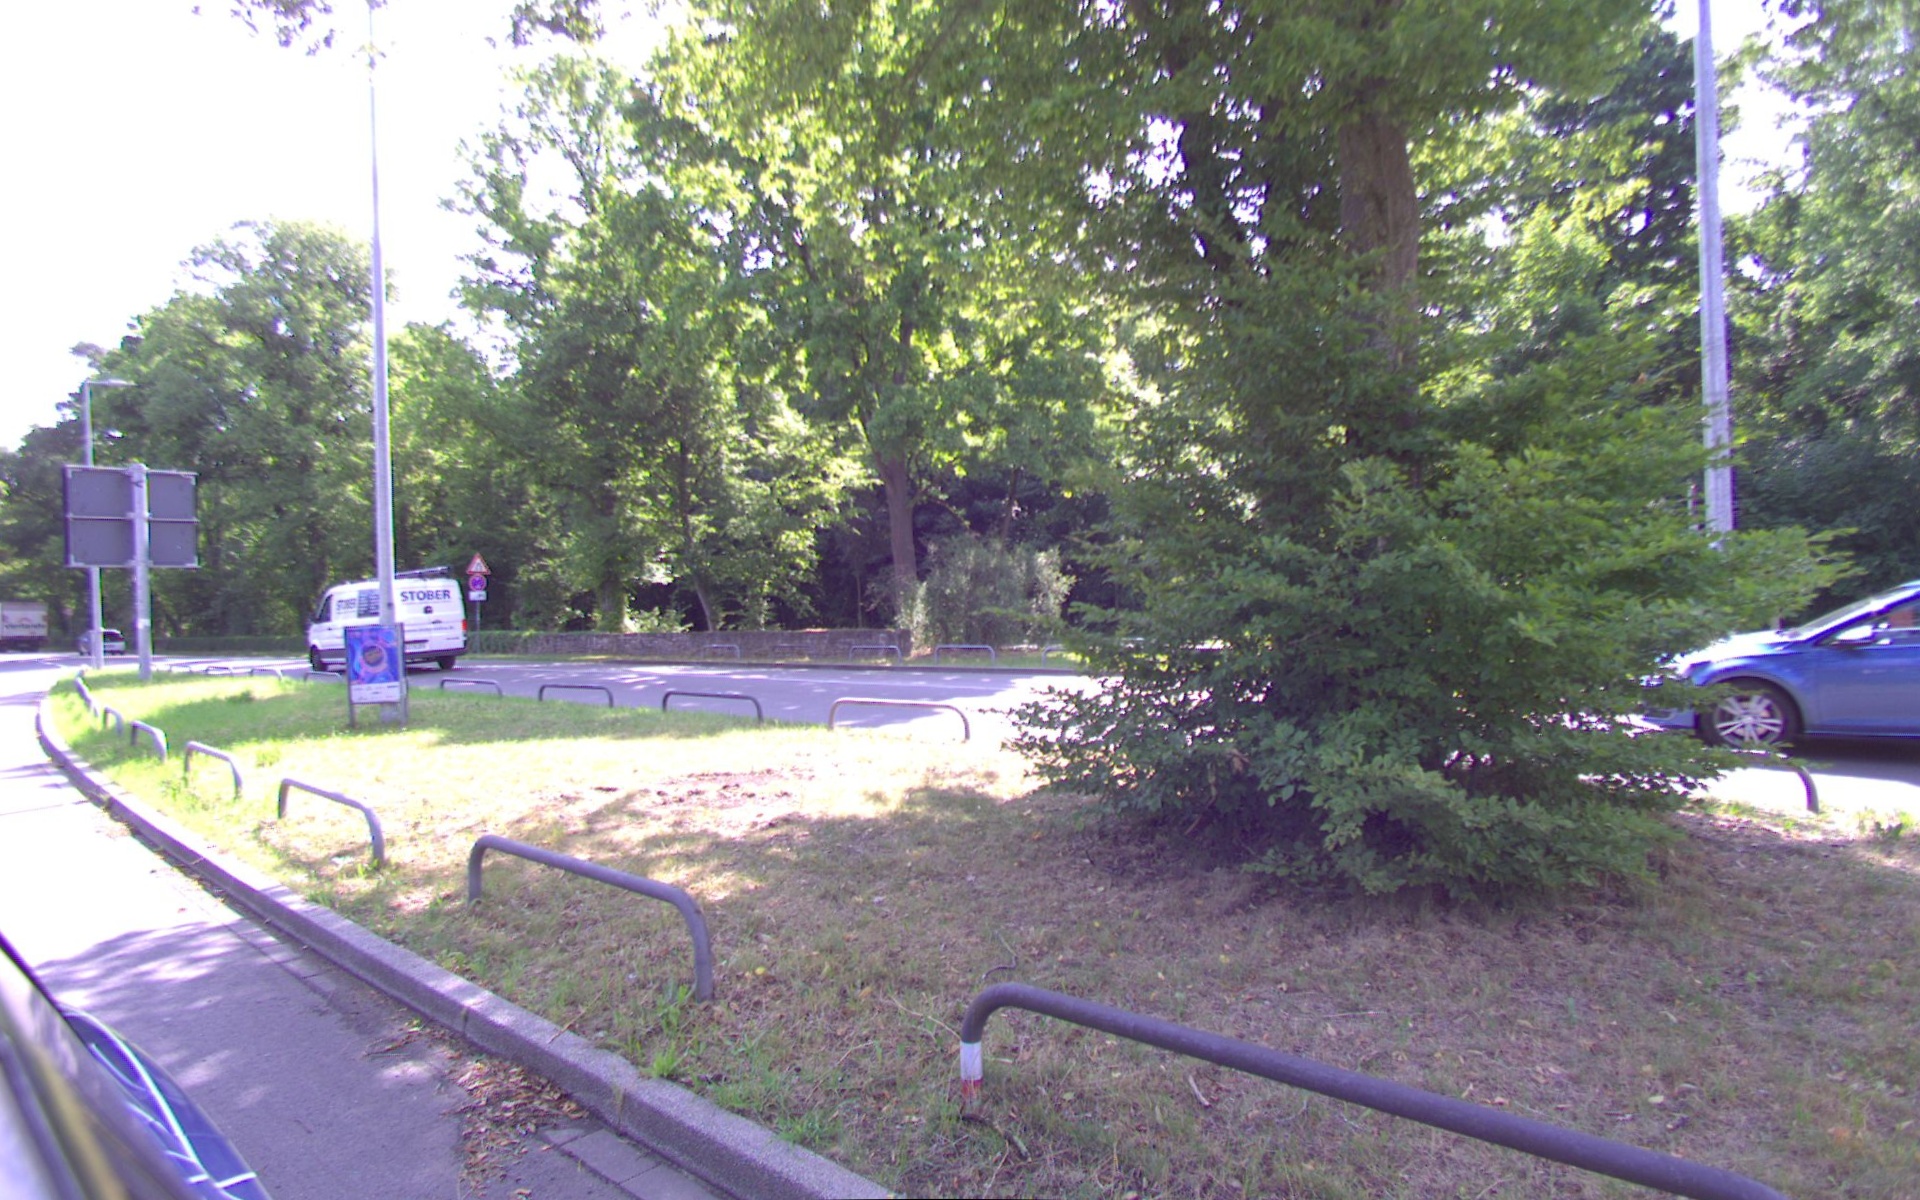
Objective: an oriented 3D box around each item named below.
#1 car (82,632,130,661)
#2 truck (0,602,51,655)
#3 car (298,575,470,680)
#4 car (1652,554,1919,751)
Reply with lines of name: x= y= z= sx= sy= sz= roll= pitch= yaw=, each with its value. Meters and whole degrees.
car: x=-48.423 y=2.628 z=57.361 sx=3.872 sy=1.481 sz=1.633 roll=-1 pitch=0 yaw=43
truck: x=-67.739 y=1.992 z=72.614 sx=7.002 sy=3.657 sz=2.877 roll=-1 pitch=0 yaw=41
car: x=-15.037 y=0.660 z=26.309 sx=5.356 sy=2.449 sz=1.956 roll=-1 pitch=2 yaw=38
car: x=7.971 y=0.359 z=7.877 sx=4.067 sy=1.457 sz=1.676 roll=-1 pitch=2 yaw=43
